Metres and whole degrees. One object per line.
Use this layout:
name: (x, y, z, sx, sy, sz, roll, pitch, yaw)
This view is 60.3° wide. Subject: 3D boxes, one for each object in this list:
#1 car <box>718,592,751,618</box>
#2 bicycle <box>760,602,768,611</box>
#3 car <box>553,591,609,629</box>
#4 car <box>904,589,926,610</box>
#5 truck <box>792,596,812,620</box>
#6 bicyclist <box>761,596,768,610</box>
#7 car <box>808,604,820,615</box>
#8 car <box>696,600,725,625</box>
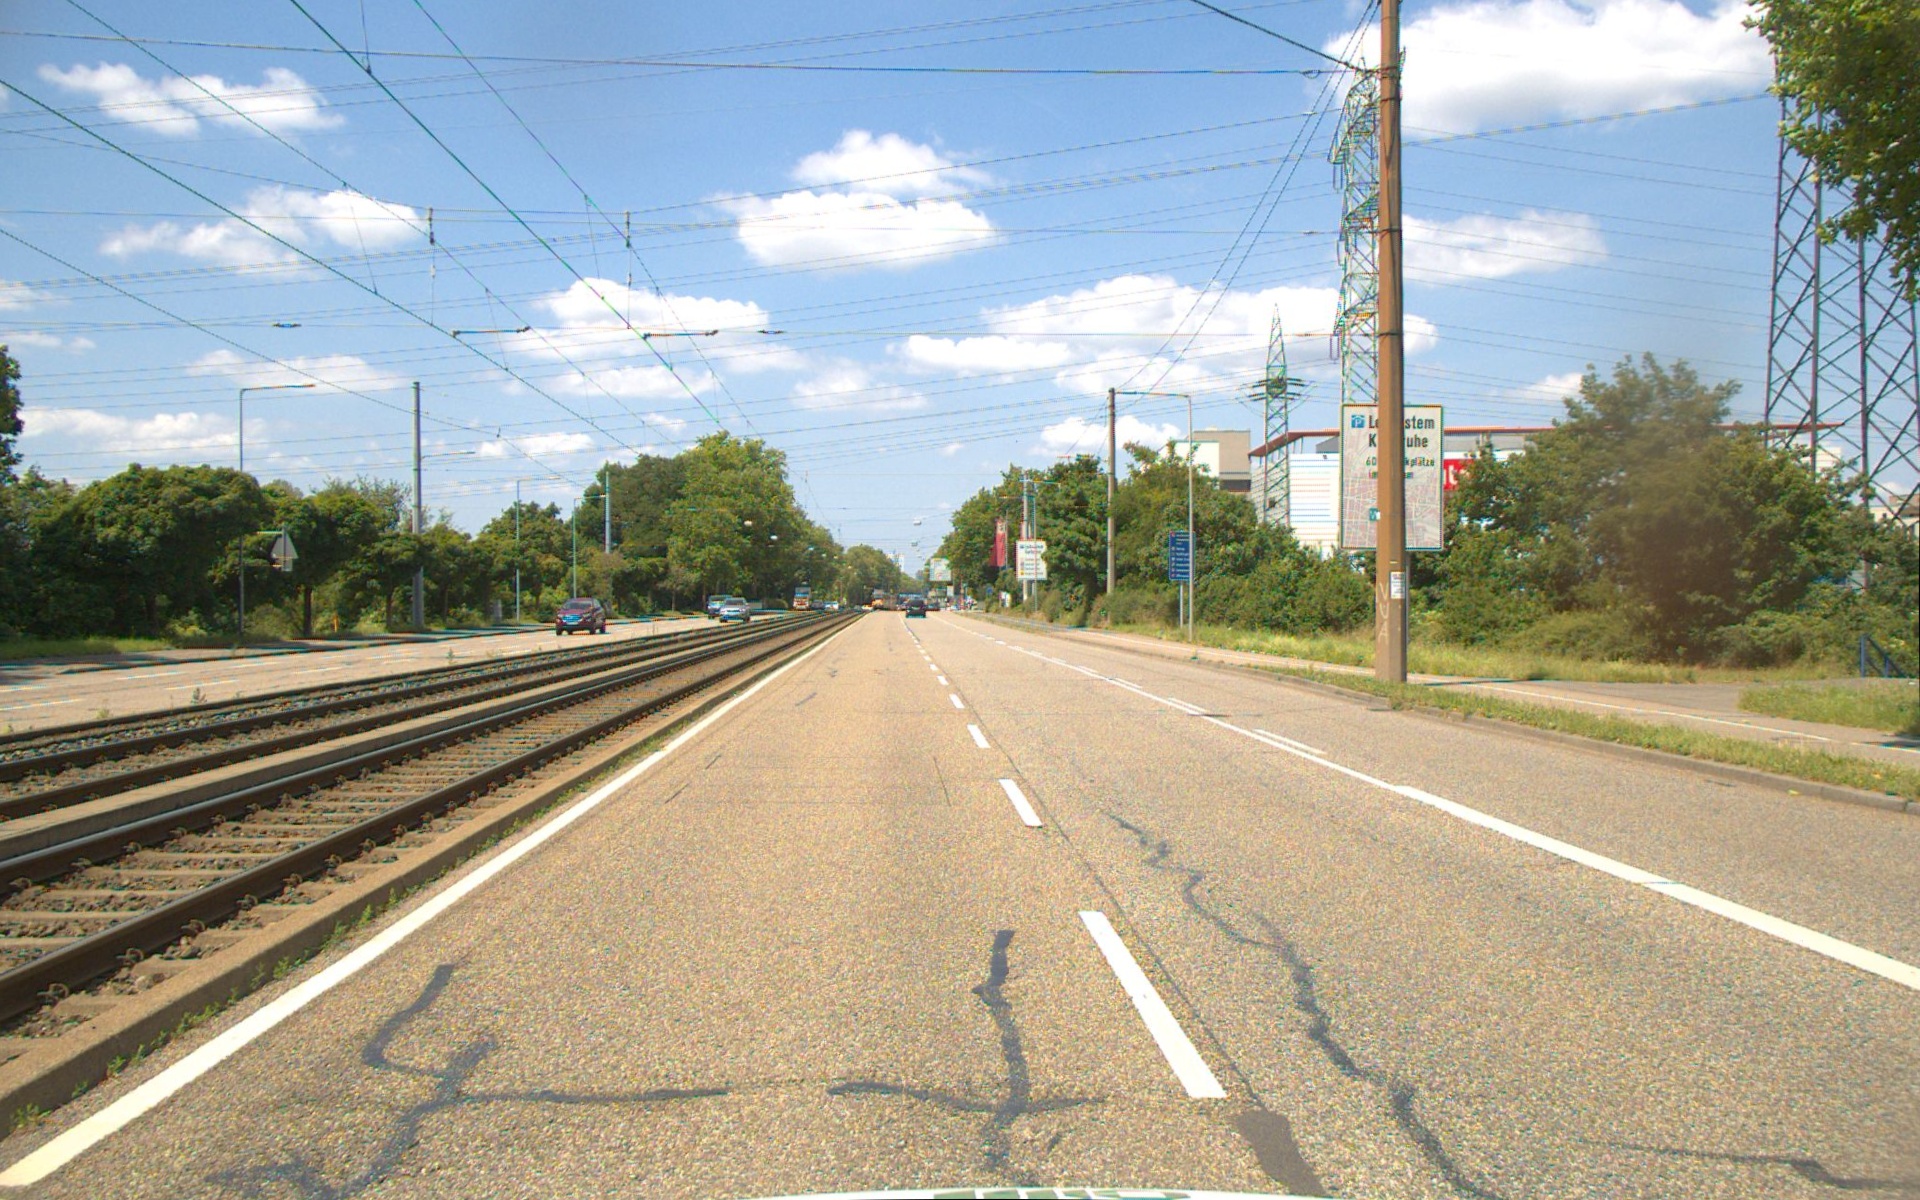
car: (-15.234, 0.333, 111.708, 1.765, 1.653, 4.492, -2, 0, -3)
bicycle: (-24.195, 0.809, 204.299, 0.610, 0.996, 2.055, 2, 0, 4)
car: (-17.414, 0.442, 76.131, 1.765, 1.653, 4.209, -2, 0, -3)
car: (-3.959, -0.043, 145.049, 1.861, 1.837, 3.974, 2, 0, -3)
truck: (-21.795, 1.061, 228.197, 2.204, 3.293, 6.040, -1, 0, -1)
bicyclist: (-24.182, 0.355, 204.262, 0.610, 1.645, 1.062, 2, 0, 3)
car: (-22.103, 1.415, 250.768, 1.717, 1.562, 3.954, -1, 0, -3)
car: (-20.764, 1.038, 137.756, 1.820, 1.961, 5.005, -2, 0, -3)
